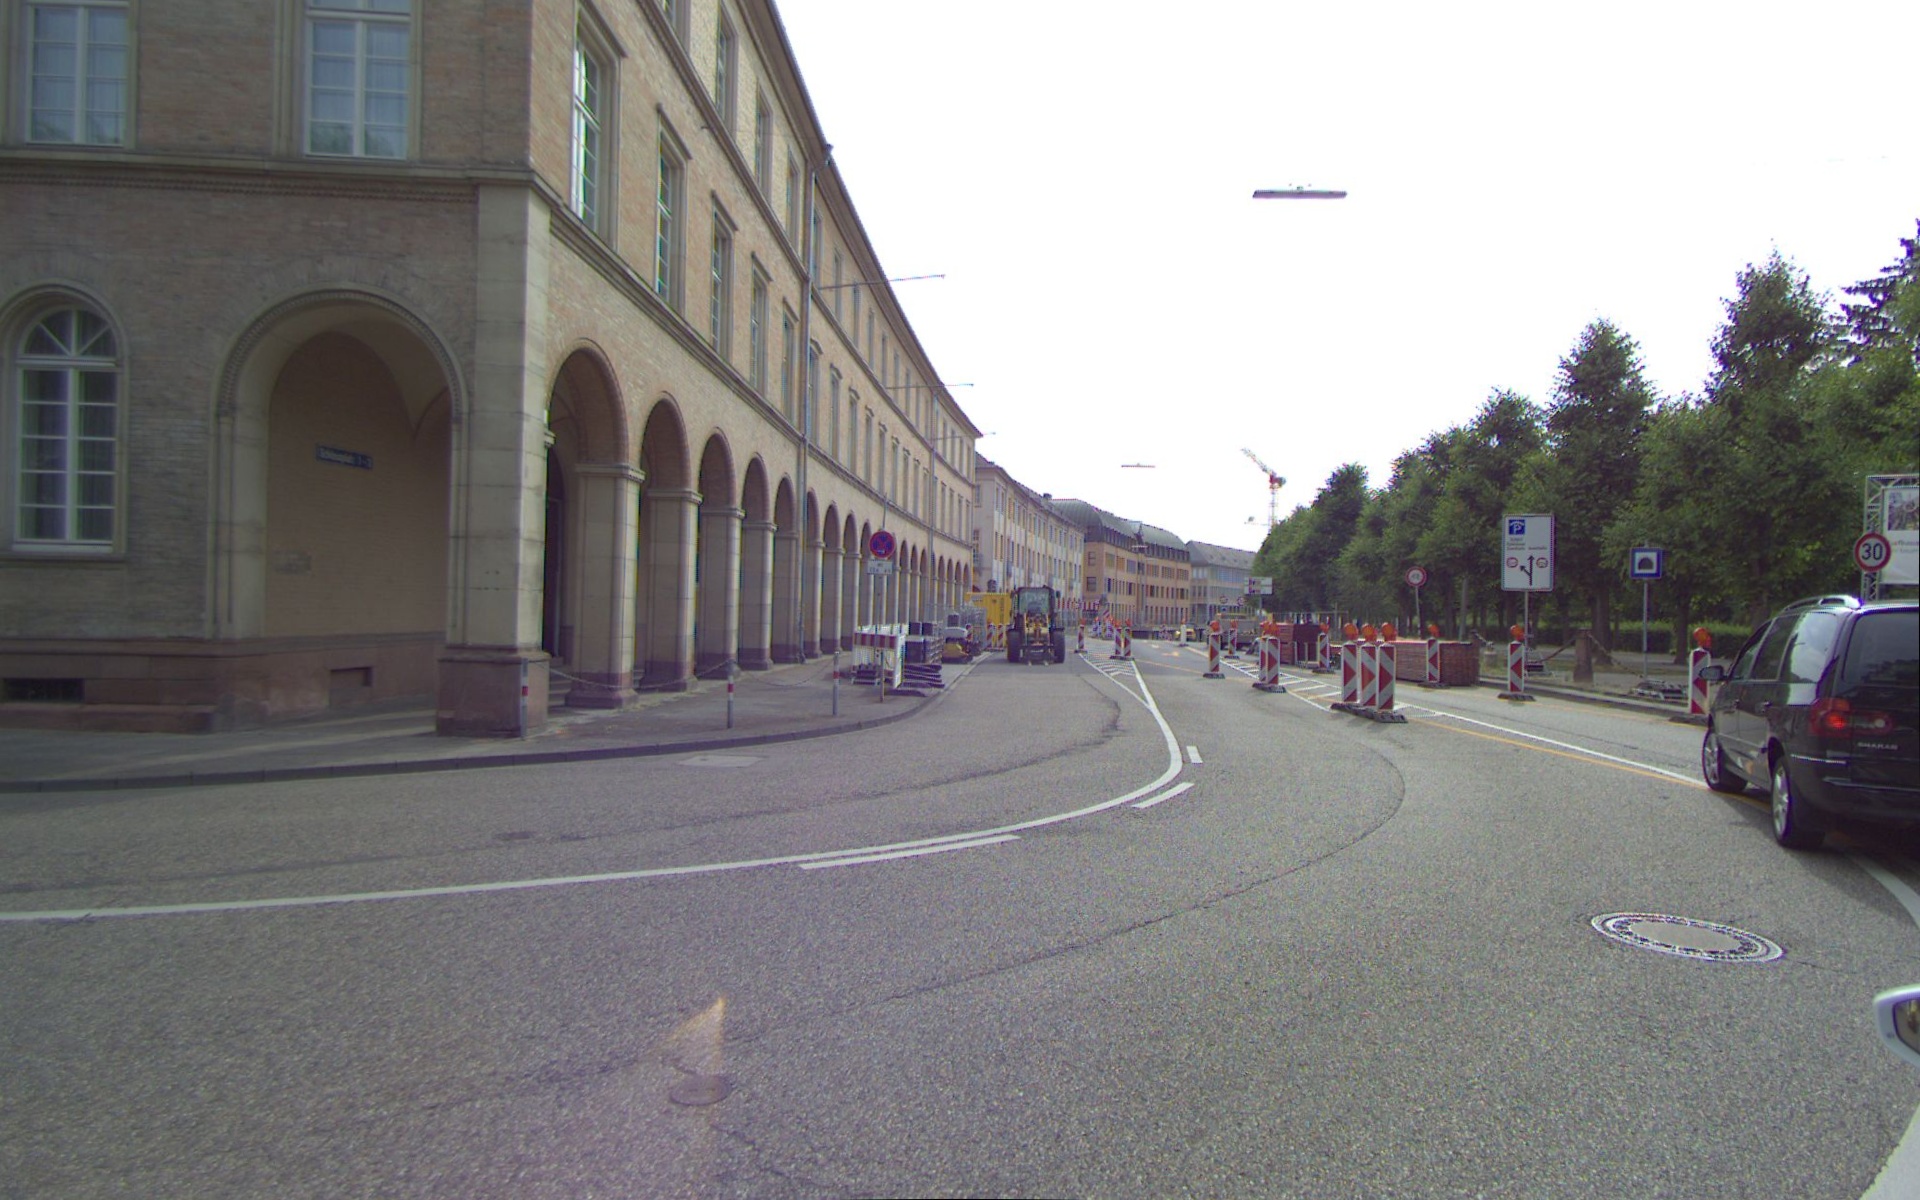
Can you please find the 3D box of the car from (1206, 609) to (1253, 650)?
[{"bbox_3d":[14.887,1.577,55.664,1.959,2.041,4.347,1,1,8],"label":"car"}]

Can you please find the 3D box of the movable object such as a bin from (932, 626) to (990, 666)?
[{"bbox_3d":[0.080,1.547,34.158,1.776,1.140,2.748,1,1,4],"label":"movable object such as a bin"}]

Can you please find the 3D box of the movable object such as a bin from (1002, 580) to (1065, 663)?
[{"bbox_3d":[2.580,0.766,36.171,2.080,2.754,4.621,1,-1,2],"label":"movable object such as a bin"}]

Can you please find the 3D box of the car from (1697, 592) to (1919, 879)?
[{"bbox_3d":[7.075,0.865,7.727,1.767,1.731,4.124,1,-1,30],"label":"car"}]
